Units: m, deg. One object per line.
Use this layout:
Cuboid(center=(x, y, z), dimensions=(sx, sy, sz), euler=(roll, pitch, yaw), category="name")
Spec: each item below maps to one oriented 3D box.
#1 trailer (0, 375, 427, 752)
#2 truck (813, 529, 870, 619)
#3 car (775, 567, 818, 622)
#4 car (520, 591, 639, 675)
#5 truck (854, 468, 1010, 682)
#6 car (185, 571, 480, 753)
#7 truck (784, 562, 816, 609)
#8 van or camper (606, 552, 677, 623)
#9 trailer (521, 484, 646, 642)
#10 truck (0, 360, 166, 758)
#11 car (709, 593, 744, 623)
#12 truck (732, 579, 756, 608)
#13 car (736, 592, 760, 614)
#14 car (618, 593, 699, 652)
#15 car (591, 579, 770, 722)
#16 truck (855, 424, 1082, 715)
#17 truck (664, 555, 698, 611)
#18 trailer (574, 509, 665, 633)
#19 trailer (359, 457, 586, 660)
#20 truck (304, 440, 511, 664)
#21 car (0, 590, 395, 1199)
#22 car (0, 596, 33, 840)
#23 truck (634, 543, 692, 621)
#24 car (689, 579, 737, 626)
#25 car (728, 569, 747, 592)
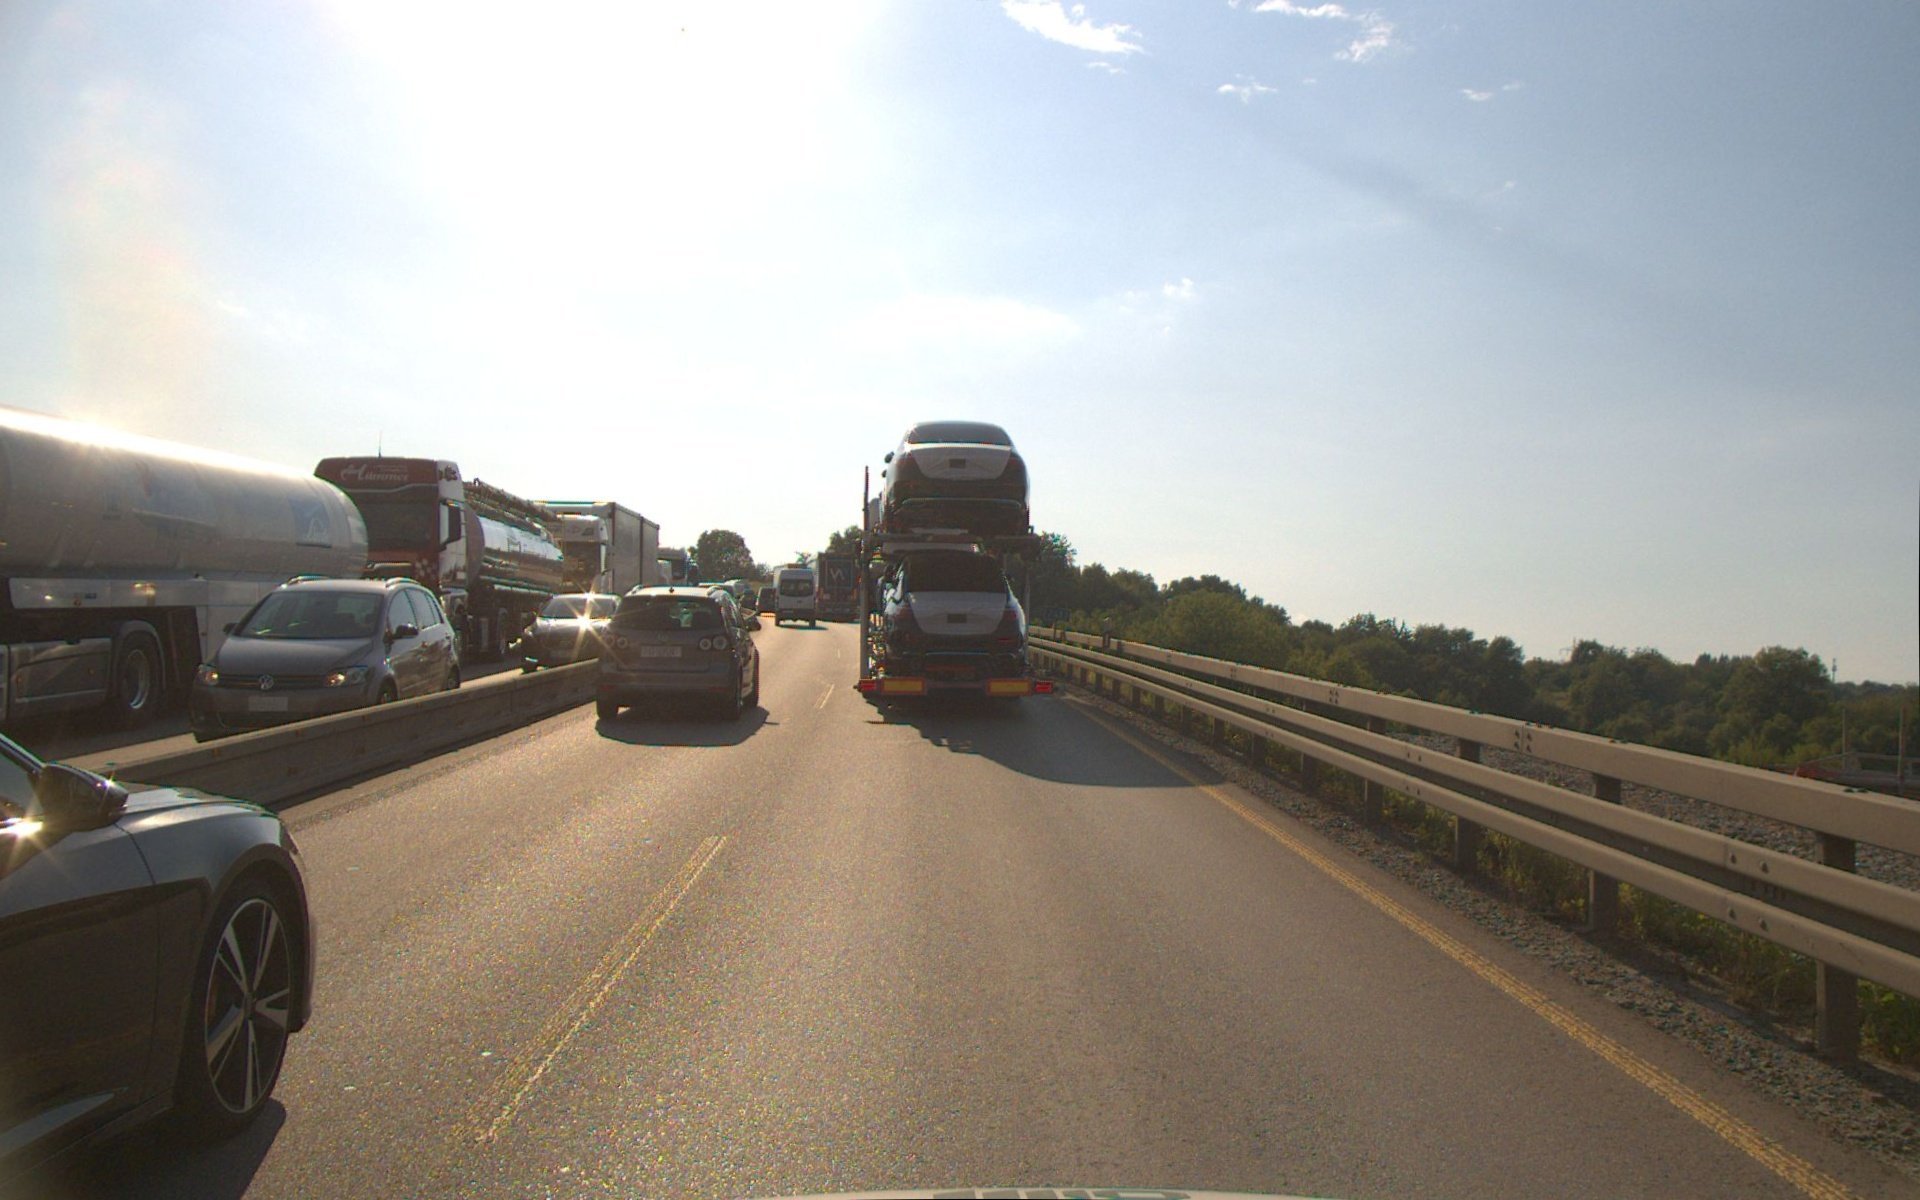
Cuboid(center=(-9.676, -0.319, 21.027), dimensions=(2.260, 3.420, 12.047), euler=(1, 0, -2), category="trailer")
Cuboid(center=(-7.579, -1.541, 104.815), dimensions=(3.222, 5.328, 9.922), euler=(1, 0, -6), category="truck")
Cuboid(center=(-7.848, -0.225, 79.604), dimensions=(1.883, 2.536, 5.404), euler=(1, 0, -4), category="car")
Cuboid(center=(-7.164, 0.596, 31.508), dimensions=(1.596, 1.451, 4.383), euler=(1, 0, -5), category="car")
Cuboid(center=(-0.818, -0.426, 35.162), dimensions=(2.782, 3.858, 9.978), euler=(1, 0, -4), category="truck")
Cuboid(center=(-6.219, 0.569, 16.883), dimensions=(1.716, 1.614, 3.939), euler=(1, 0, -4), category="car")
Cuboid(center=(-13.038, -1.109, 135.343), dimensions=(2.481, 3.712, 8.896), euler=(1, 0, -5), category="truck")
Cuboid(center=(-13.893, -0.503, 72.576), dimensions=(2.362, 2.942, 7.607), euler=(1, 0, -6), category="van or camper")
Cuboid(center=(-11.590, -1.013, 51.789), dimensions=(2.428, 4.404, 10.498), euler=(1, 0, -5), category="trailer")
Cuboid(center=(-9.475, -0.367, 14.551), dimensions=(2.365, 3.429, 5.615), euler=(1, 0, -2), category="truck")
Cuboid(center=(-12.497, 0.431, 88.711), dimensions=(1.647, 1.505, 4.598), euler=(1, 0, -5), category="car")
Cuboid(center=(-24.334, -0.719, 186.440), dimensions=(2.541, 3.226, 6.667), euler=(1, 0, -6), category="truck")
Cuboid(center=(-18.188, 0.256, 141.866), dimensions=(1.790, 1.803, 3.996), euler=(1, 0, -4), category="car")
Cuboid(center=(-7.964, 0.576, 44.044), dimensions=(1.595, 1.451, 4.653), euler=(1, 0, -4), category="car")
Cuboid(center=(-3.458, 0.592, 21.100), dimensions=(1.657, 1.624, 3.999), euler=(1, 0, -1), category="car")
Cuboid(center=(-0.224, -0.346, 25.728), dimensions=(2.744, 3.558, 10.597), euler=(1, 0, -4), category="truck")
Cuboid(center=(-21.215, -1.269, 125.922), dimensions=(2.457, 4.137, 5.652), euler=(1, 0, -10), category="truck")
Cuboid(center=(-12.498, -0.978, 61.243), dimensions=(2.396, 4.262, 8.532), euler=(1, 0, -6), category="trailer")
Cuboid(center=(-10.695, -0.757, 37.699), dimensions=(2.261, 3.856, 12.043), euler=(1, 0, -4), category="trailer")
Cuboid(center=(-10.366, -0.814, 31.577), dimensions=(2.384, 3.851, 5.612), euler=(1, 0, -4), category="truck")
Cuboid(center=(-2.816, 0.693, 2.976), dimensions=(1.895, 1.423, 4.960), euler=(1, 0, 0), category="car")
Cuboid(center=(-6.450, 0.662, 7.793), dimensions=(1.757, 1.422, 4.243), euler=(1, 0, 0), category="car")
Cuboid(center=(-15.332, -0.875, 85.727), dimensions=(2.551, 3.820, 6.506), euler=(1, 0, -7), category="truck")
Cuboid(center=(-10.614, 0.114, 71.428), dimensions=(1.782, 1.959, 4.830), euler=(1, 0, -6), category="car")
Cuboid(center=(-21.078, -1.840, 156.688), dimensions=(1.600, 2.049, 3.990), euler=(1, 0, -10), category="car")
